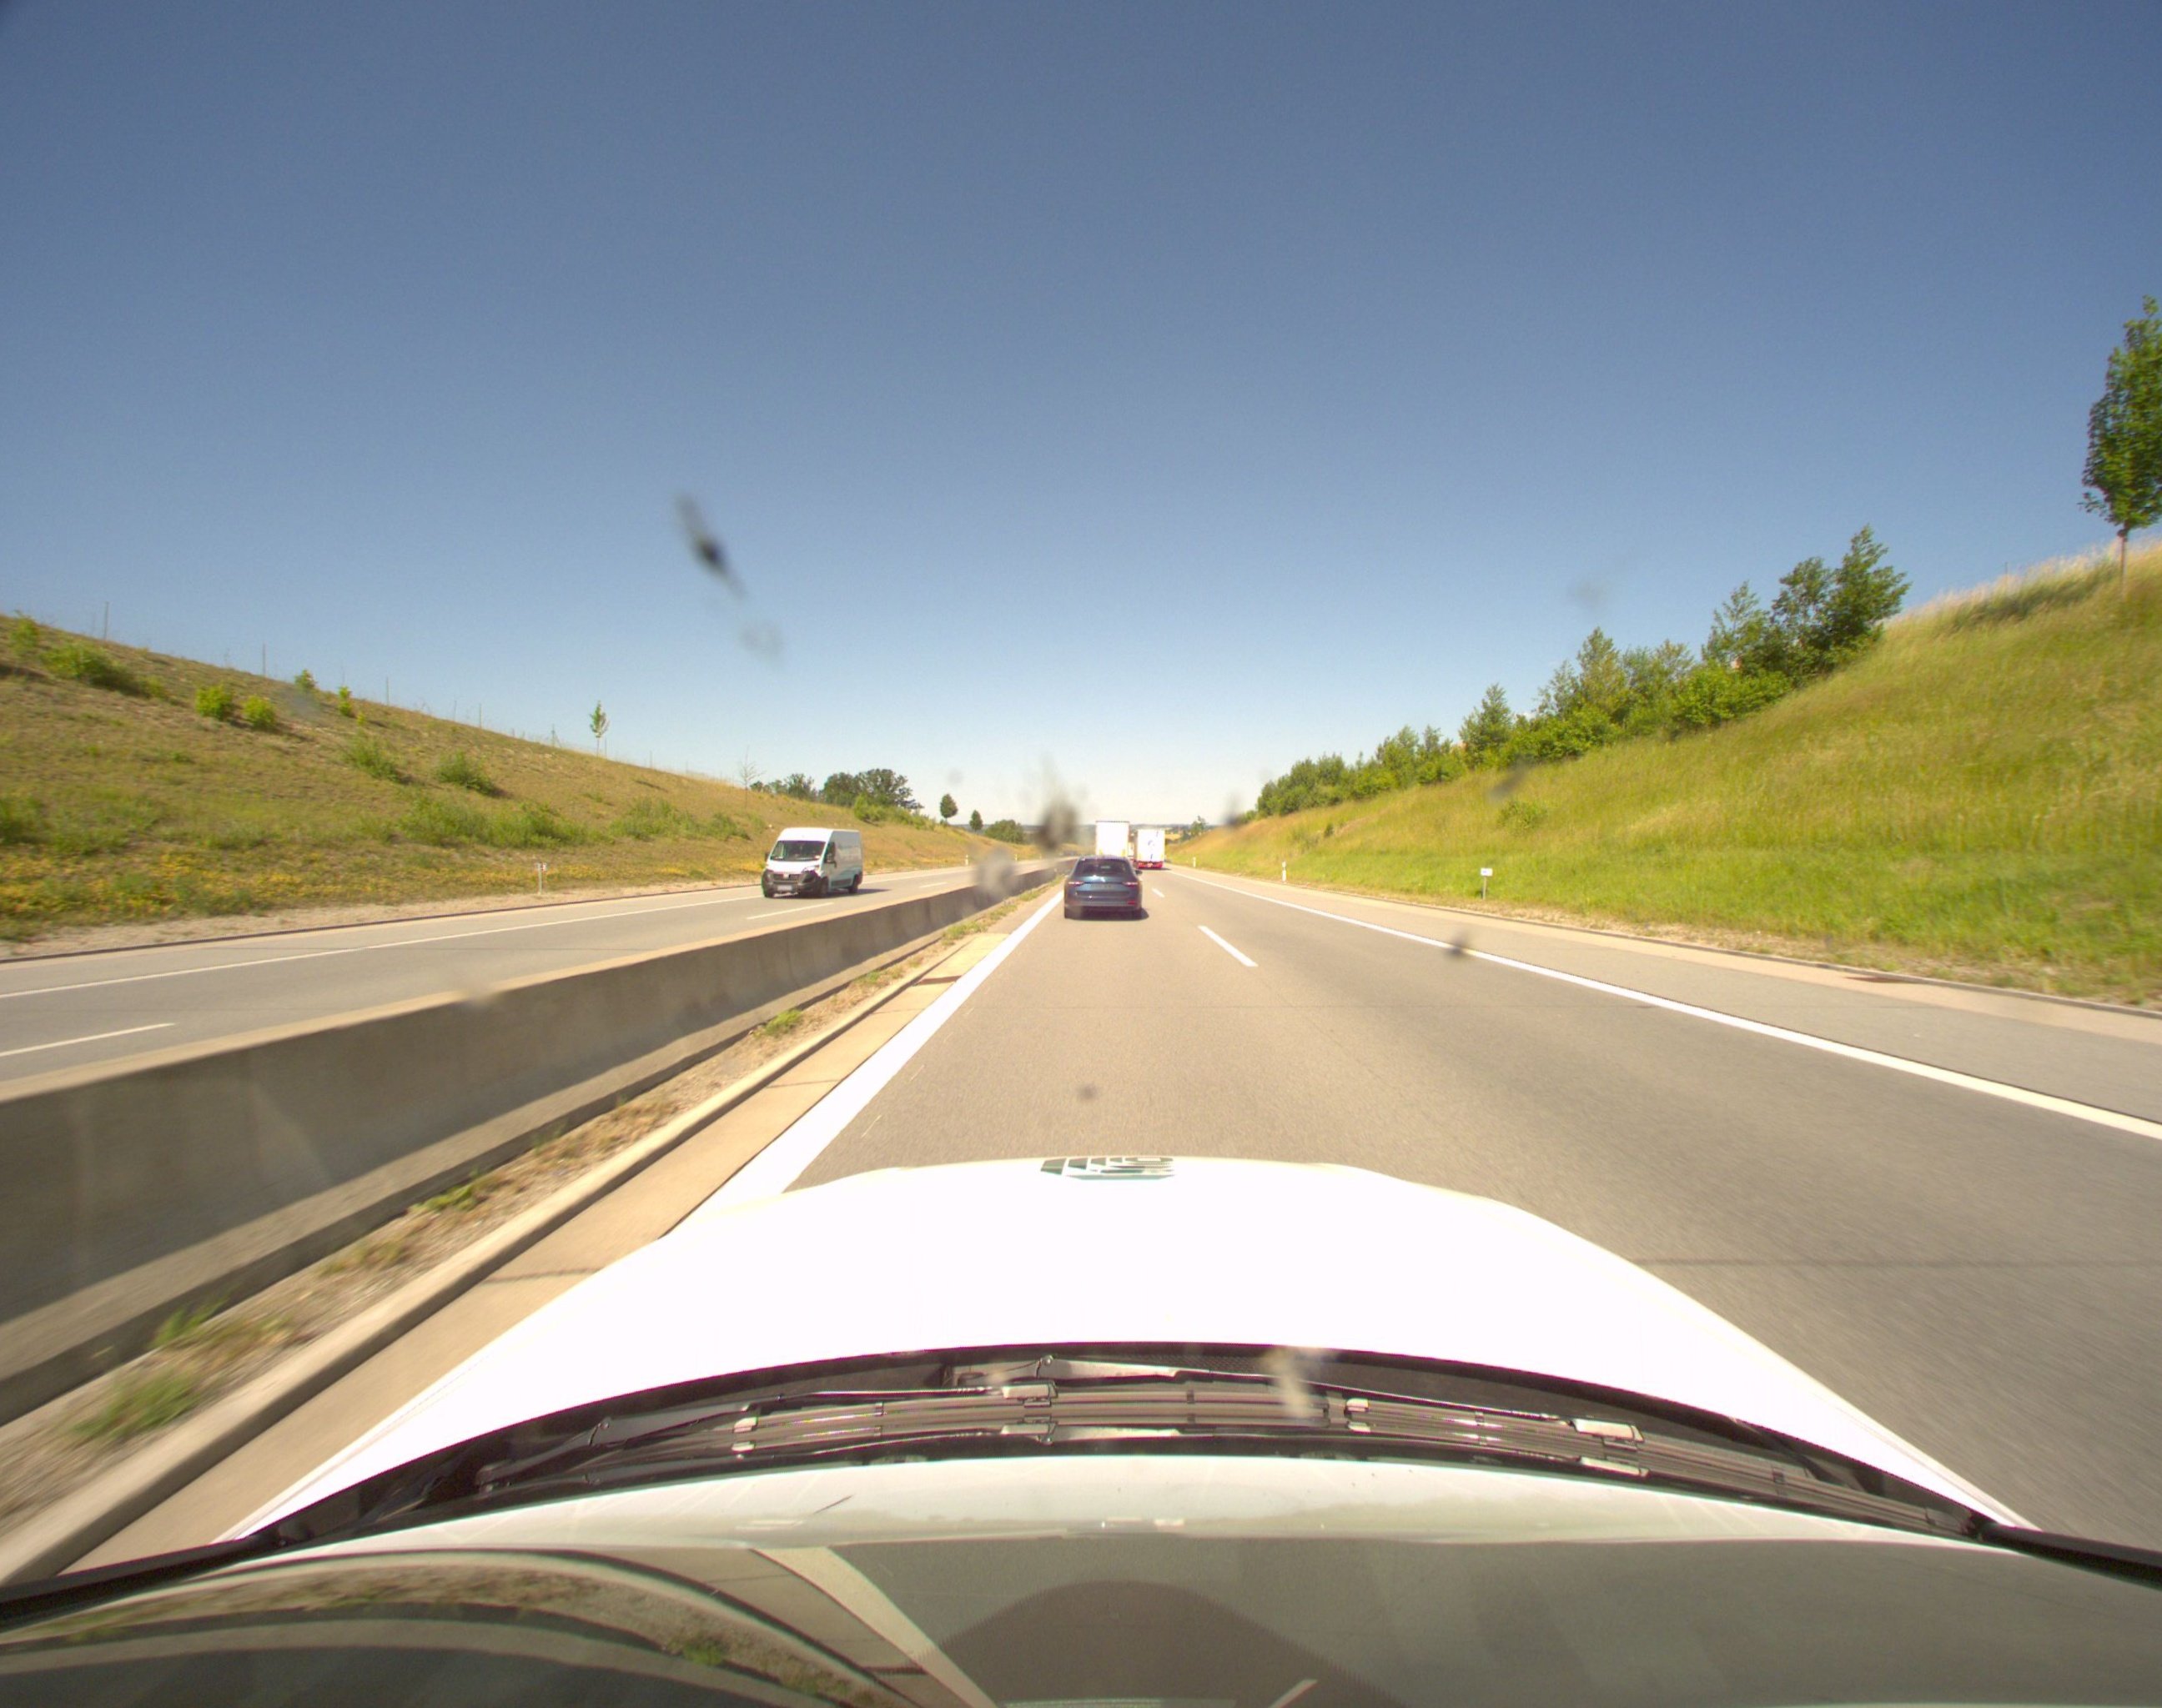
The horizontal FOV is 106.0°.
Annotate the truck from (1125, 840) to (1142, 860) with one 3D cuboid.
[{"bbox_3d":[12.216,-0.919,190.014,3.587,4.381,11.248,-1,0,5],"label":"truck"}]

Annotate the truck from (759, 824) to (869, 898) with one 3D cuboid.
[{"bbox_3d":[-9.560,0.230,29.744,1.986,2.449,5.670,0,0,2],"label":"truck"}]

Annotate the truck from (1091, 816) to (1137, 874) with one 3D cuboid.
[{"bbox_3d":[2.920,-0.702,68.353,3.195,4.381,11.250,-1,0,5],"label":"truck"}]

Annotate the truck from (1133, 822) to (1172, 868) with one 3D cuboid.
[{"bbox_3d":[7.319,-0.888,83.477,3.587,4.381,11.248,-1,0,5],"label":"truck"}]

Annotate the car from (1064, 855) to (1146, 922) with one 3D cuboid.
[{"bbox_3d":[0.566,0.752,19.510,1.770,1.441,3.789,0,0,1],"label":"car"}]
